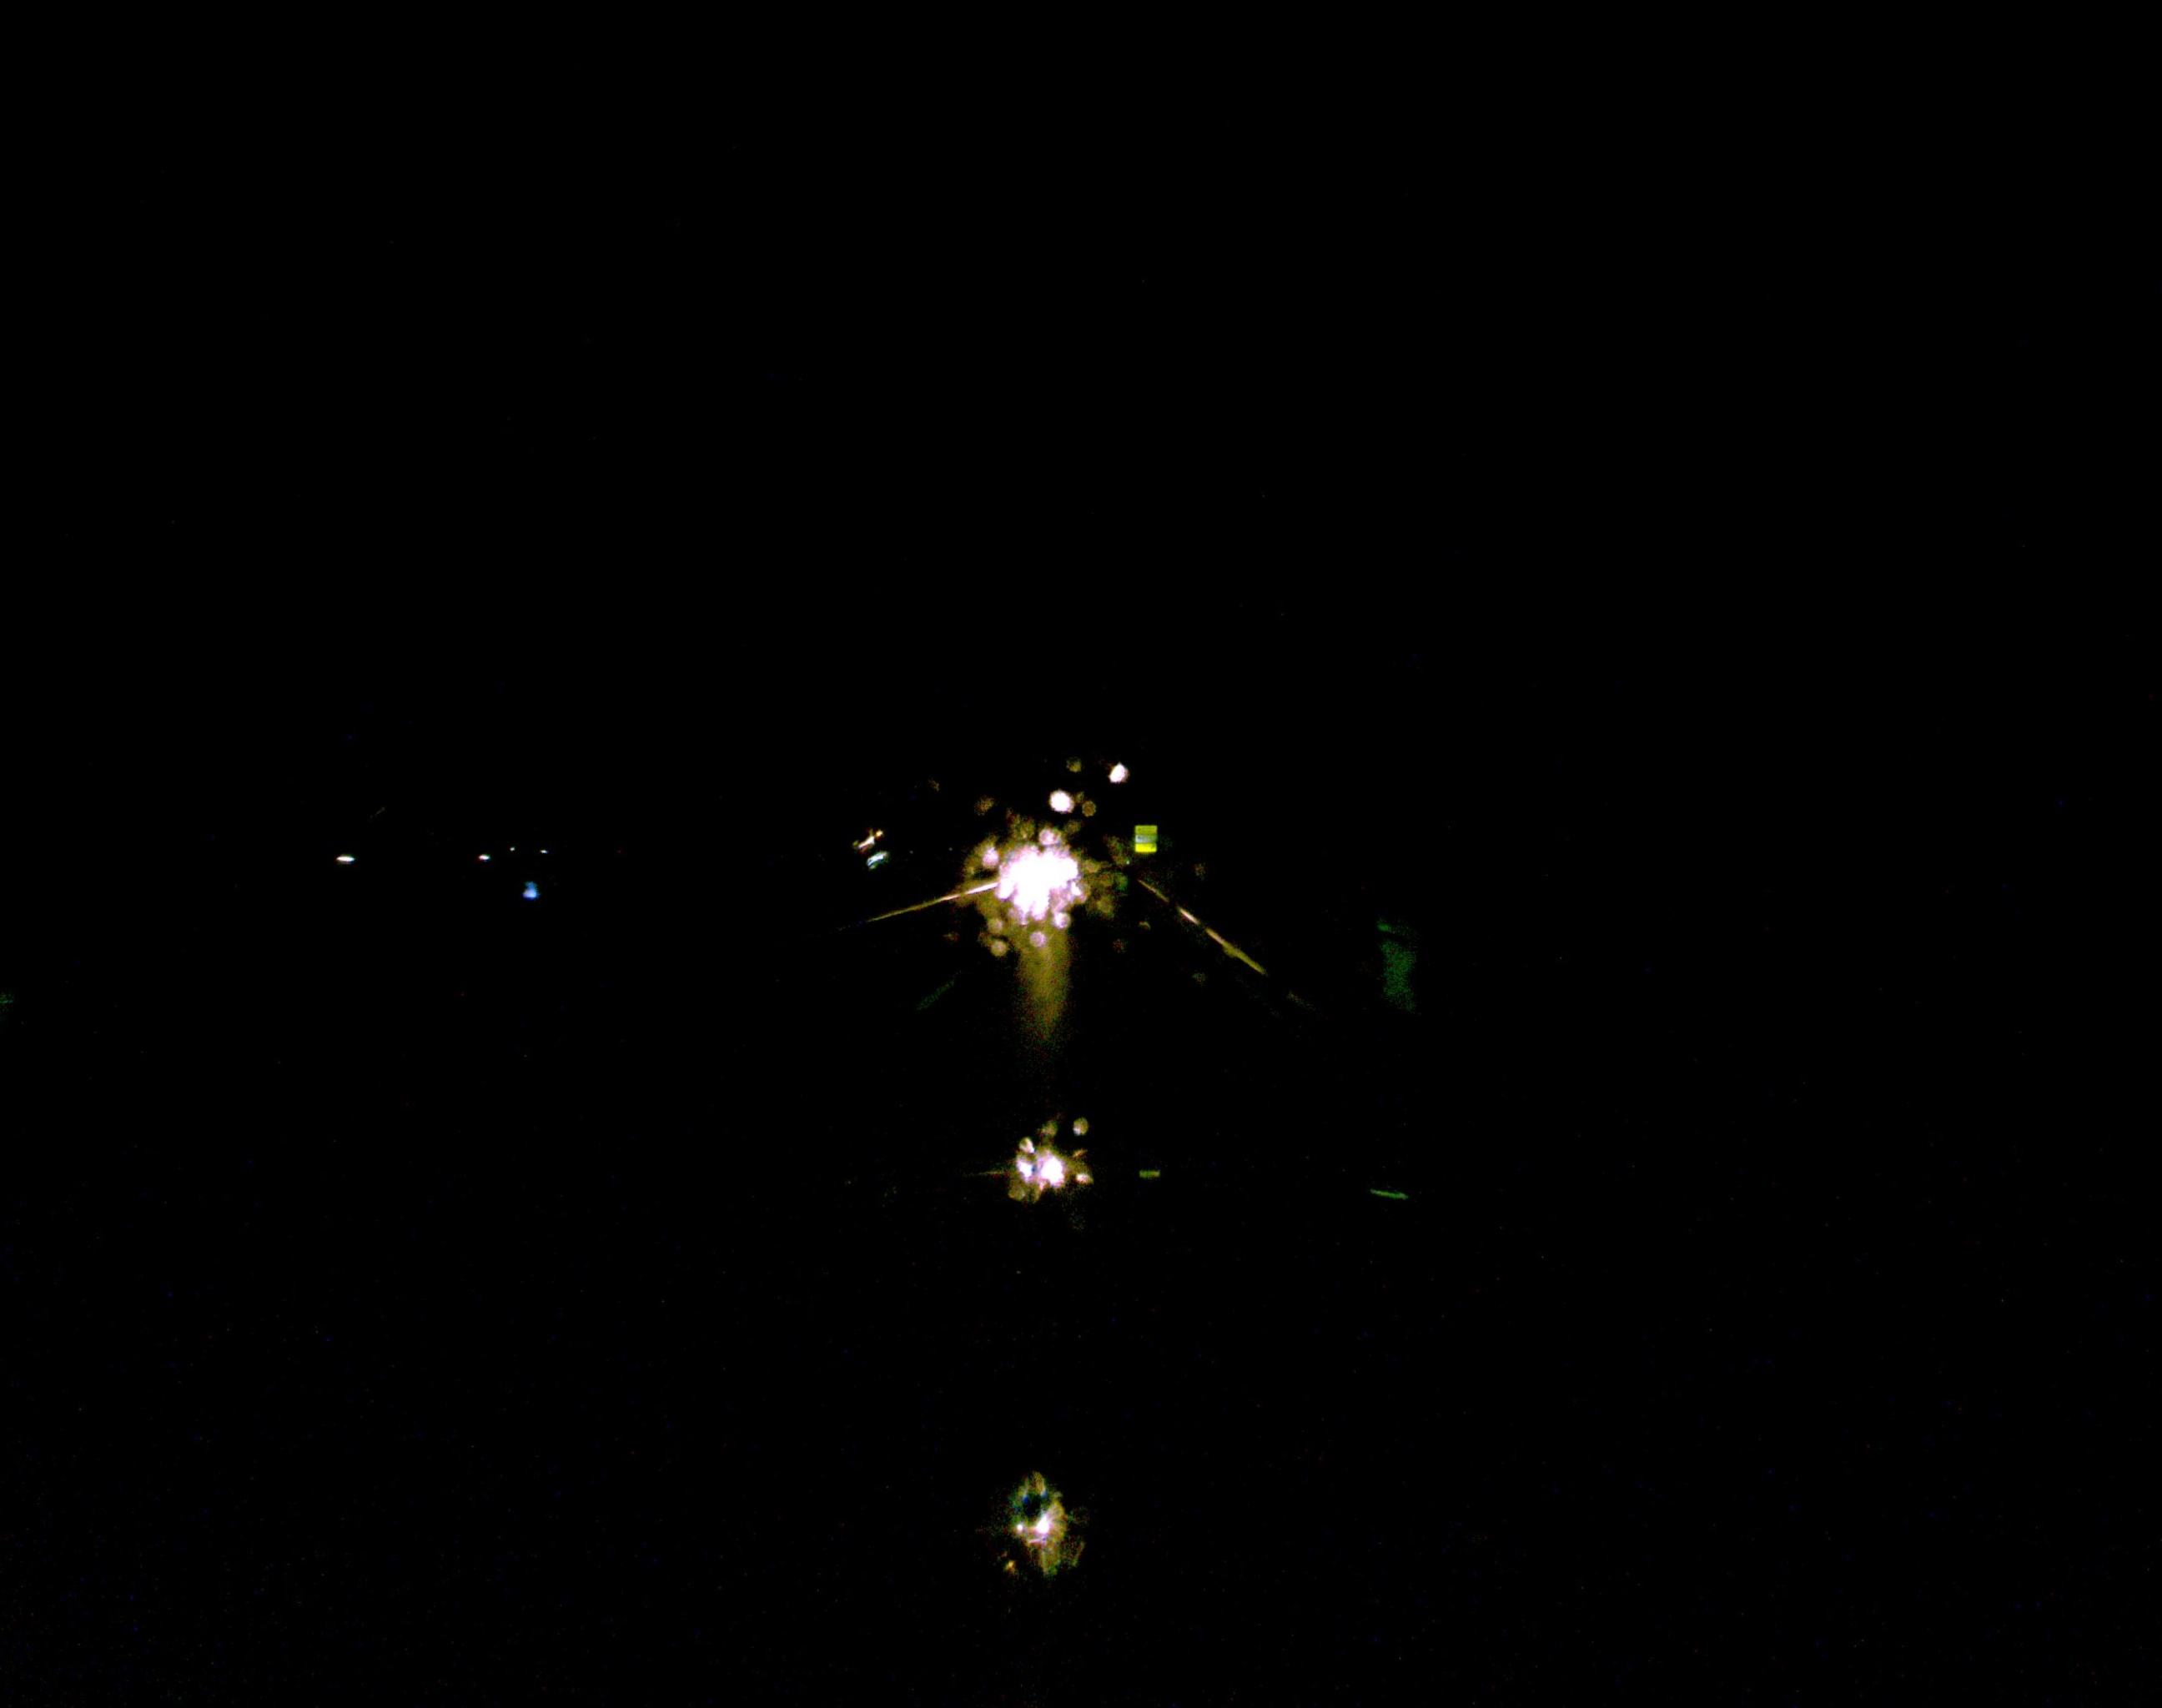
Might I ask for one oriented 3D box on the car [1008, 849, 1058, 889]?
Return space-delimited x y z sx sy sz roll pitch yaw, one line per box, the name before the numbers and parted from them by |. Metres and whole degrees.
car | -3.001 0.960 52.738 2.743 2.269 6.260 -4 -1 0
